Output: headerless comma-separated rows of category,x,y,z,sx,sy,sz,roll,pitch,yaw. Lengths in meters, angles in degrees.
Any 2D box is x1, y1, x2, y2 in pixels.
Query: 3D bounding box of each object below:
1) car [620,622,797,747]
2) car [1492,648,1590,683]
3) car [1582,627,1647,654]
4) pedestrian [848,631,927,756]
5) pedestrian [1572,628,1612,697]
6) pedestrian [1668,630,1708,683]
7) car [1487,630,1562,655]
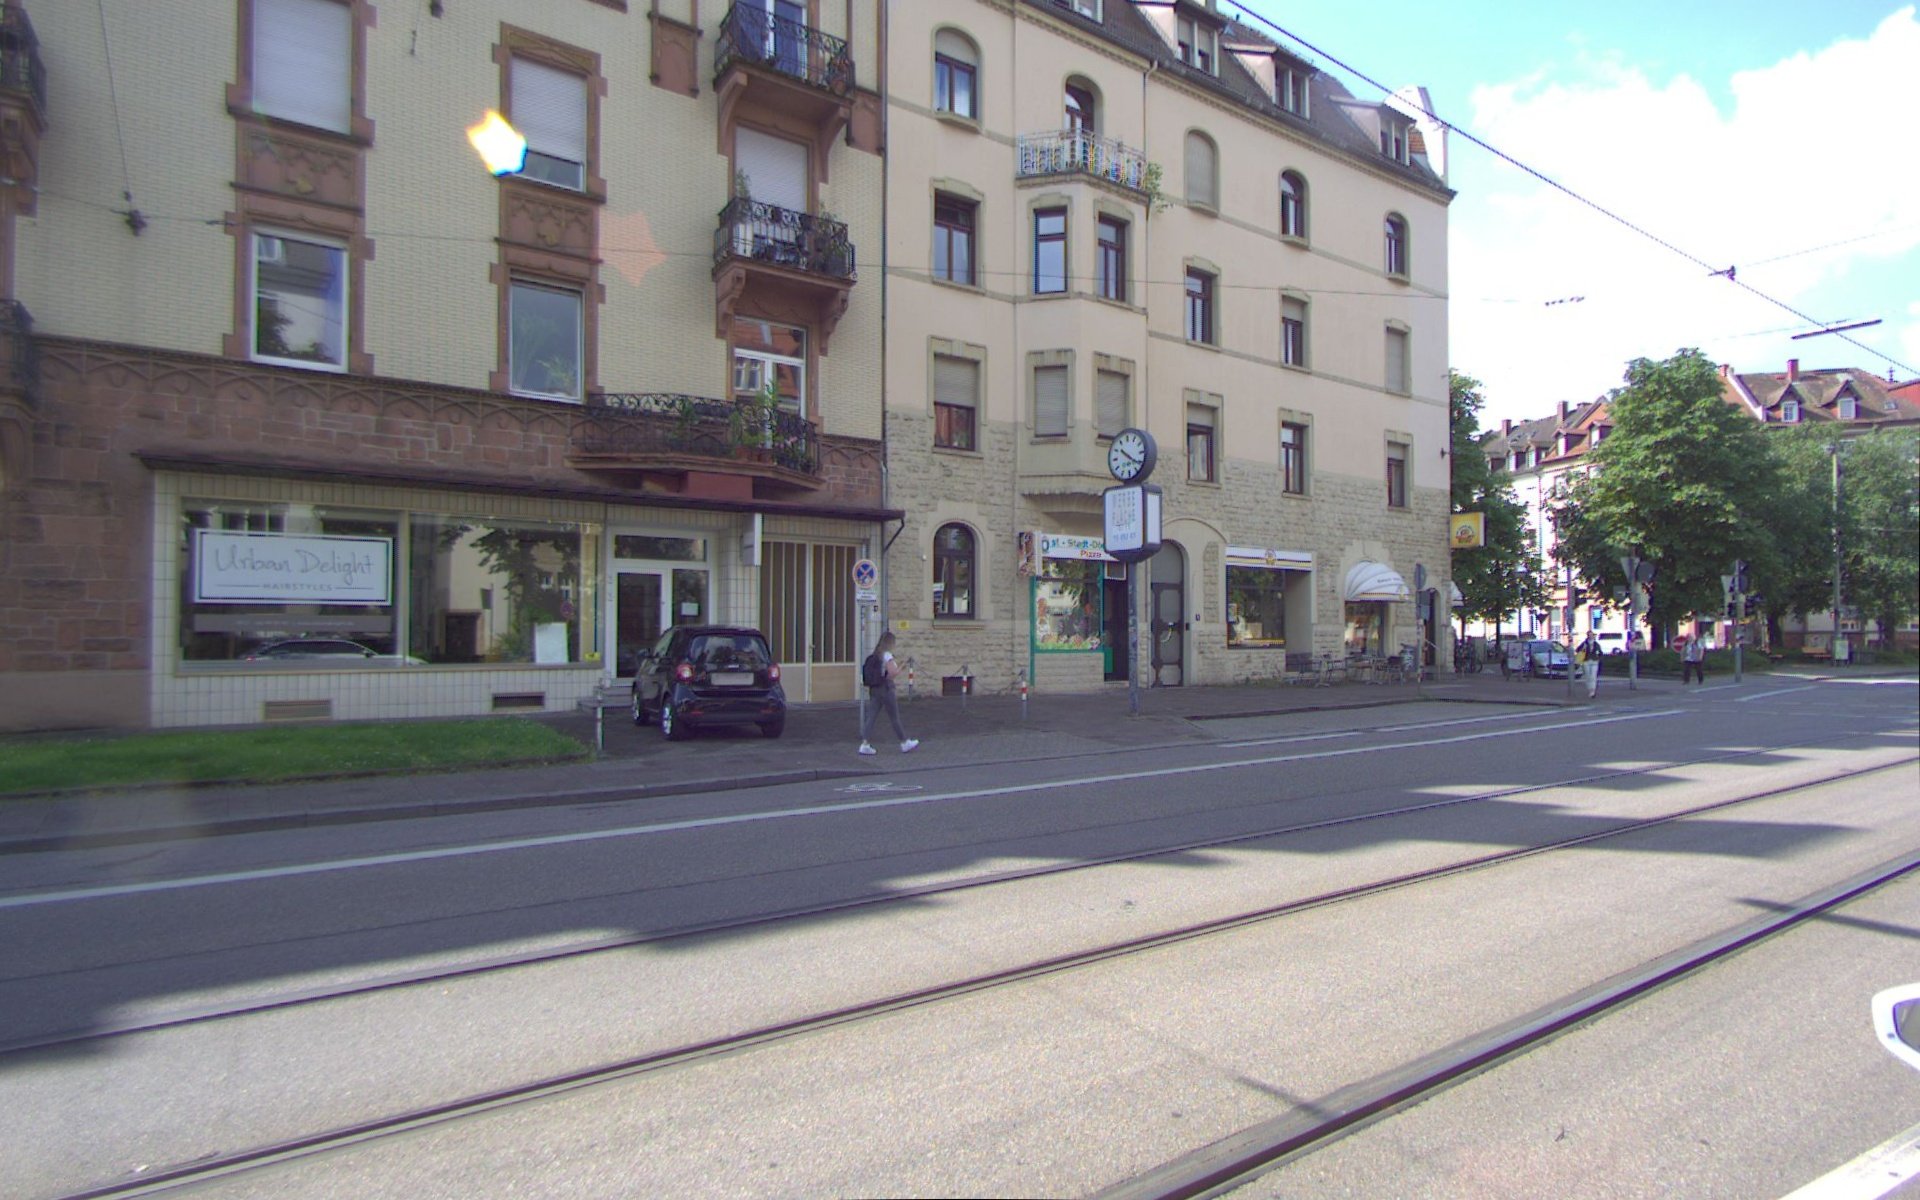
car,-3.797,1.142,14.836,1.716,1.505,3.162,1,1,-30
car,22.224,2.477,38.612,1.645,1.198,4.002,0,-2,4
car,47.983,2.946,73.751,1.962,1.929,3.997,0,-2,-6
pedestrian,-0.972,1.215,13.402,0.757,1.562,0.752,1,2,-33
pedestrian,16.487,1.613,26.216,0.786,1.777,0.684,-1,-2,26
pedestrian,24.094,1.849,33.237,0.709,1.728,0.819,1,-2,-25
car,37.968,2.837,67.586,1.976,1.617,3.969,1,-2,-29
